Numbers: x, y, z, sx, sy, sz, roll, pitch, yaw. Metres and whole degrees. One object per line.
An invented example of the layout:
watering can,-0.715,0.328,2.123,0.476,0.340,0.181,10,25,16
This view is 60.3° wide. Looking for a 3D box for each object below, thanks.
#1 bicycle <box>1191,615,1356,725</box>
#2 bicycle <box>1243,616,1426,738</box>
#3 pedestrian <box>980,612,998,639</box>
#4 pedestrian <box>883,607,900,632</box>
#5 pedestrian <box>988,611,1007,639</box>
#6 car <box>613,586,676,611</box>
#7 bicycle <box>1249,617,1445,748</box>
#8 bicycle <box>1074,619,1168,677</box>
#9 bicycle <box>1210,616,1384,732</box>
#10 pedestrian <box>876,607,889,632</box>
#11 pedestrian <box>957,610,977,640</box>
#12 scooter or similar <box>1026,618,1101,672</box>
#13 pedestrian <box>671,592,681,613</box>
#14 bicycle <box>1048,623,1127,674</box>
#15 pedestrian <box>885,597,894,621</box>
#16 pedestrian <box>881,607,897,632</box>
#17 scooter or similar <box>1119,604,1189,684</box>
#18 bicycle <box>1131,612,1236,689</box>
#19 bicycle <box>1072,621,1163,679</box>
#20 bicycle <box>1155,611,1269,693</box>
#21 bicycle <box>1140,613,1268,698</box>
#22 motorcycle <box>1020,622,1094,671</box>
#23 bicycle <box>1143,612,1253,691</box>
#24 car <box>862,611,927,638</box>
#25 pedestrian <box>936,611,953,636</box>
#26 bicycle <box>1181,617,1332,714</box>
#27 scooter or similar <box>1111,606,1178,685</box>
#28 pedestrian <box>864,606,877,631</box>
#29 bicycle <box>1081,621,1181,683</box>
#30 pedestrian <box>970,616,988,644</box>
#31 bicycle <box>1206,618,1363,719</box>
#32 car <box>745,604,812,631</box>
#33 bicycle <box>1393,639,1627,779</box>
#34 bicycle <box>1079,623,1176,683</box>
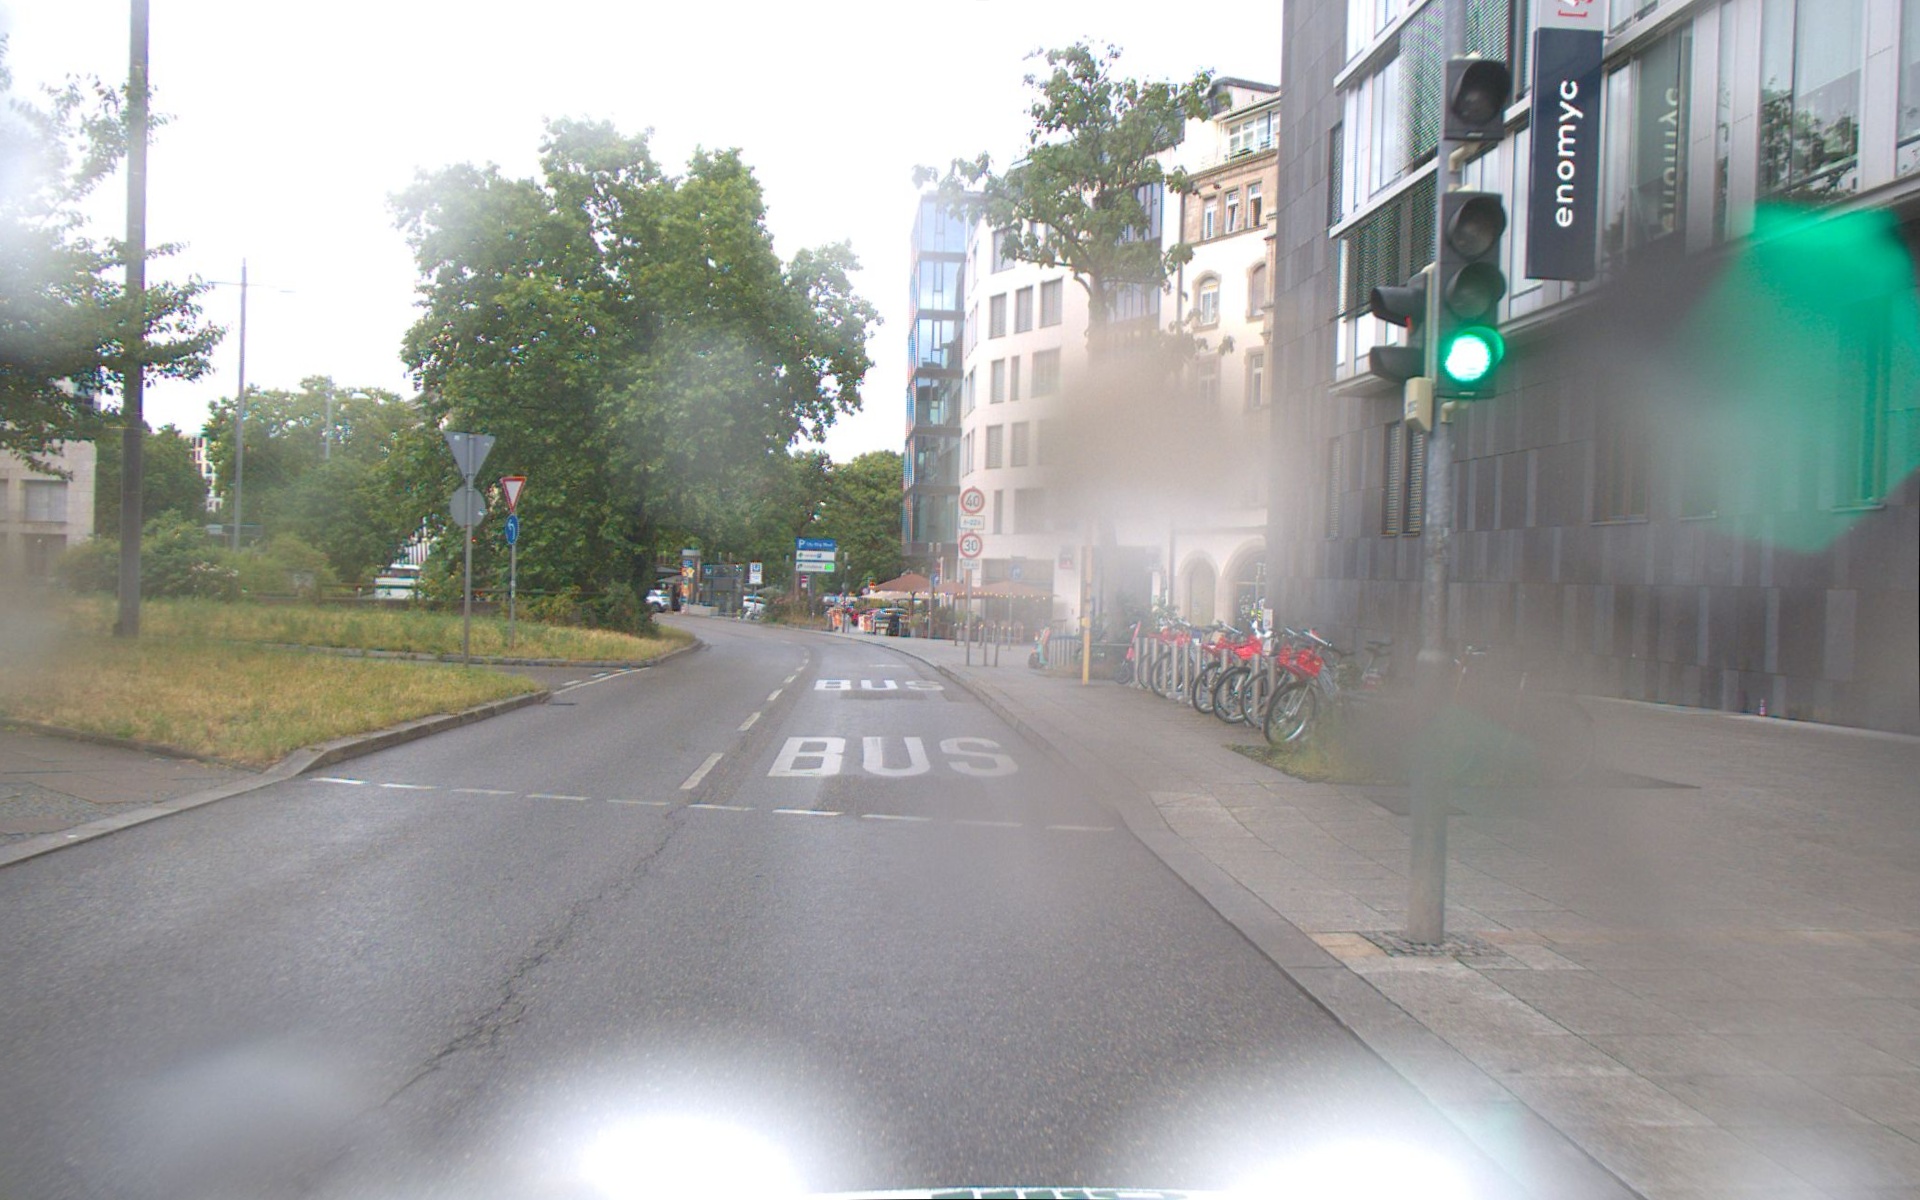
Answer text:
bicycle,3.548,0.785,18.749,1.698,1.204,0.687,1,0,-10
bicycle,3.834,0.780,16.986,1.698,1.204,0.687,1,0,-10
pedestrian,1.454,1.280,83.117,0.620,1.349,0.630,4,-1,-28
pedestrian,-3.840,1.095,92.647,0.802,1.349,0.634,4,-1,-8
pedestrian,1.855,1.238,82.237,0.620,1.349,0.630,4,-1,-28
car,-23.795,-0.121,124.793,4.239,1.695,1.954,2,-1,16
bicycle,3.699,0.777,15.849,1.698,1.204,0.687,1,0,-10
bicycle,3.218,0.961,33.131,1.761,1.087,0.555,3,-2,-9
bicycle,3.610,0.785,17.774,1.698,1.204,0.687,1,0,-10
pedestrian,-4.279,1.070,91.014,0.595,1.349,0.566,4,-1,-8
pedestrian,0.321,1.176,77.900,0.759,1.349,0.634,4,-1,-9
scooter or similar,2.609,1.124,41.713,1.759,1.265,0.594,3,-2,-10
pedestrian,-23.416,0.207,136.419,0.707,1.731,0.618,1,-1,4
bicycle,3.055,1.160,39.659,1.761,1.127,0.668,3,-2,-10
pedestrian,-5.778,0.734,136.345,0.611,1.967,0.788,2,-1,3
pedestrian,-4.010,1.125,93.632,0.802,1.349,0.634,4,-1,-8
scooter or similar,3.185,0.723,27.117,1.086,1.280,0.302,2,-2,-11
bicycle,3.506,0.797,25.977,1.506,1.160,0.661,2,-2,-10
bicycle,3.322,1.063,34.991,1.761,1.127,0.668,3,-2,-10
bicycle,3.709,0.765,24.406,1.506,1.160,0.687,2,-2,-10
bicycle,3.474,0.790,23.587,1.675,1.160,0.687,2,-2,-10
motorcycle,2.489,1.200,42.438,1.759,1.160,0.594,3,-2,-10
bicycle,3.615,0.784,25.182,1.506,1.160,0.687,2,-2,-10
car,-4.843,1.783,121.810,4.642,1.720,2.003,3,0,-5
pedestrian,-0.855,1.327,93.649,0.802,1.349,0.634,4,-1,-8
bicycle,3.659,0.801,20.452,1.698,1.160,0.687,1,0,-10
scooter or similar,3.064,0.763,27.469,1.041,1.280,0.302,2,-2,-11
pedestrian,-4.944,1.018,90.928,0.595,1.349,0.566,4,-1,-8
bicycle,3.253,0.985,31.496,1.761,1.087,0.555,3,-2,-9
pedestrian,0.974,1.536,84.229,0.620,1.349,0.630,4,-1,-28
bicycle,3.845,0.807,19.653,1.698,1.160,0.687,1,0,-10
car,-12.990,1.264,118.912,4.642,1.720,2.003,3,0,-5
bicycle,4.497,0.882,13.558,1.698,1.089,0.687,1,0,-10
bicycle,3.276,1.030,32.369,1.761,1.087,0.555,3,-2,-9
